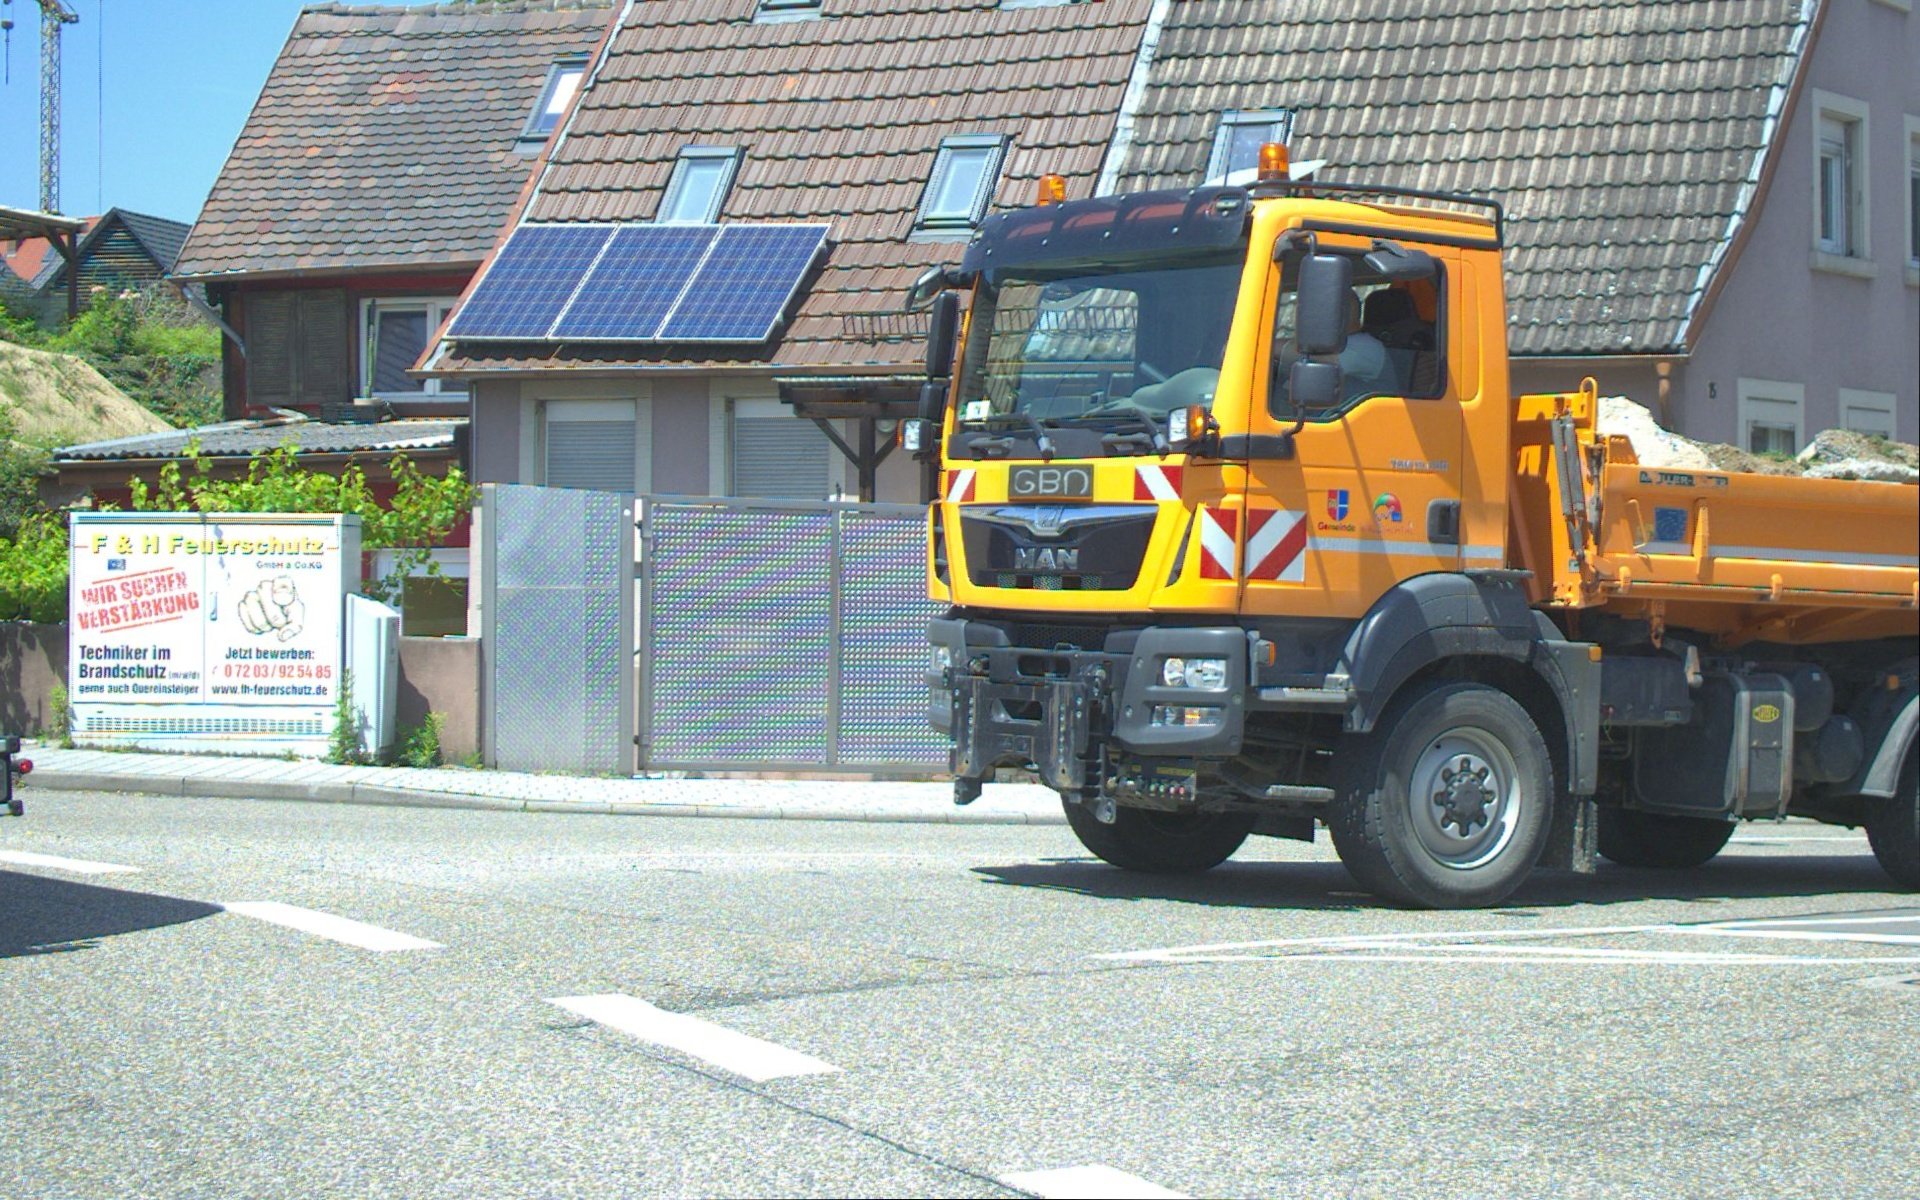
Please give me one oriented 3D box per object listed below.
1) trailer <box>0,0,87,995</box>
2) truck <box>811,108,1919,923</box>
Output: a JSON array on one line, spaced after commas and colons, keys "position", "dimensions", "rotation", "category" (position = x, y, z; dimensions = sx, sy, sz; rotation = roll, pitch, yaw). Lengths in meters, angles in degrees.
[{"position": [-7.932, -0.856, 14.612], "dimensions": [2.954, 3.934, 11.613], "rotation": [1, 1, -43], "category": "trailer"}, {"position": [3.200, -0.222, 16.525], "dimensions": [7.438, 3.170, 2.669], "rotation": [2, -1, -34], "category": "truck"}]
